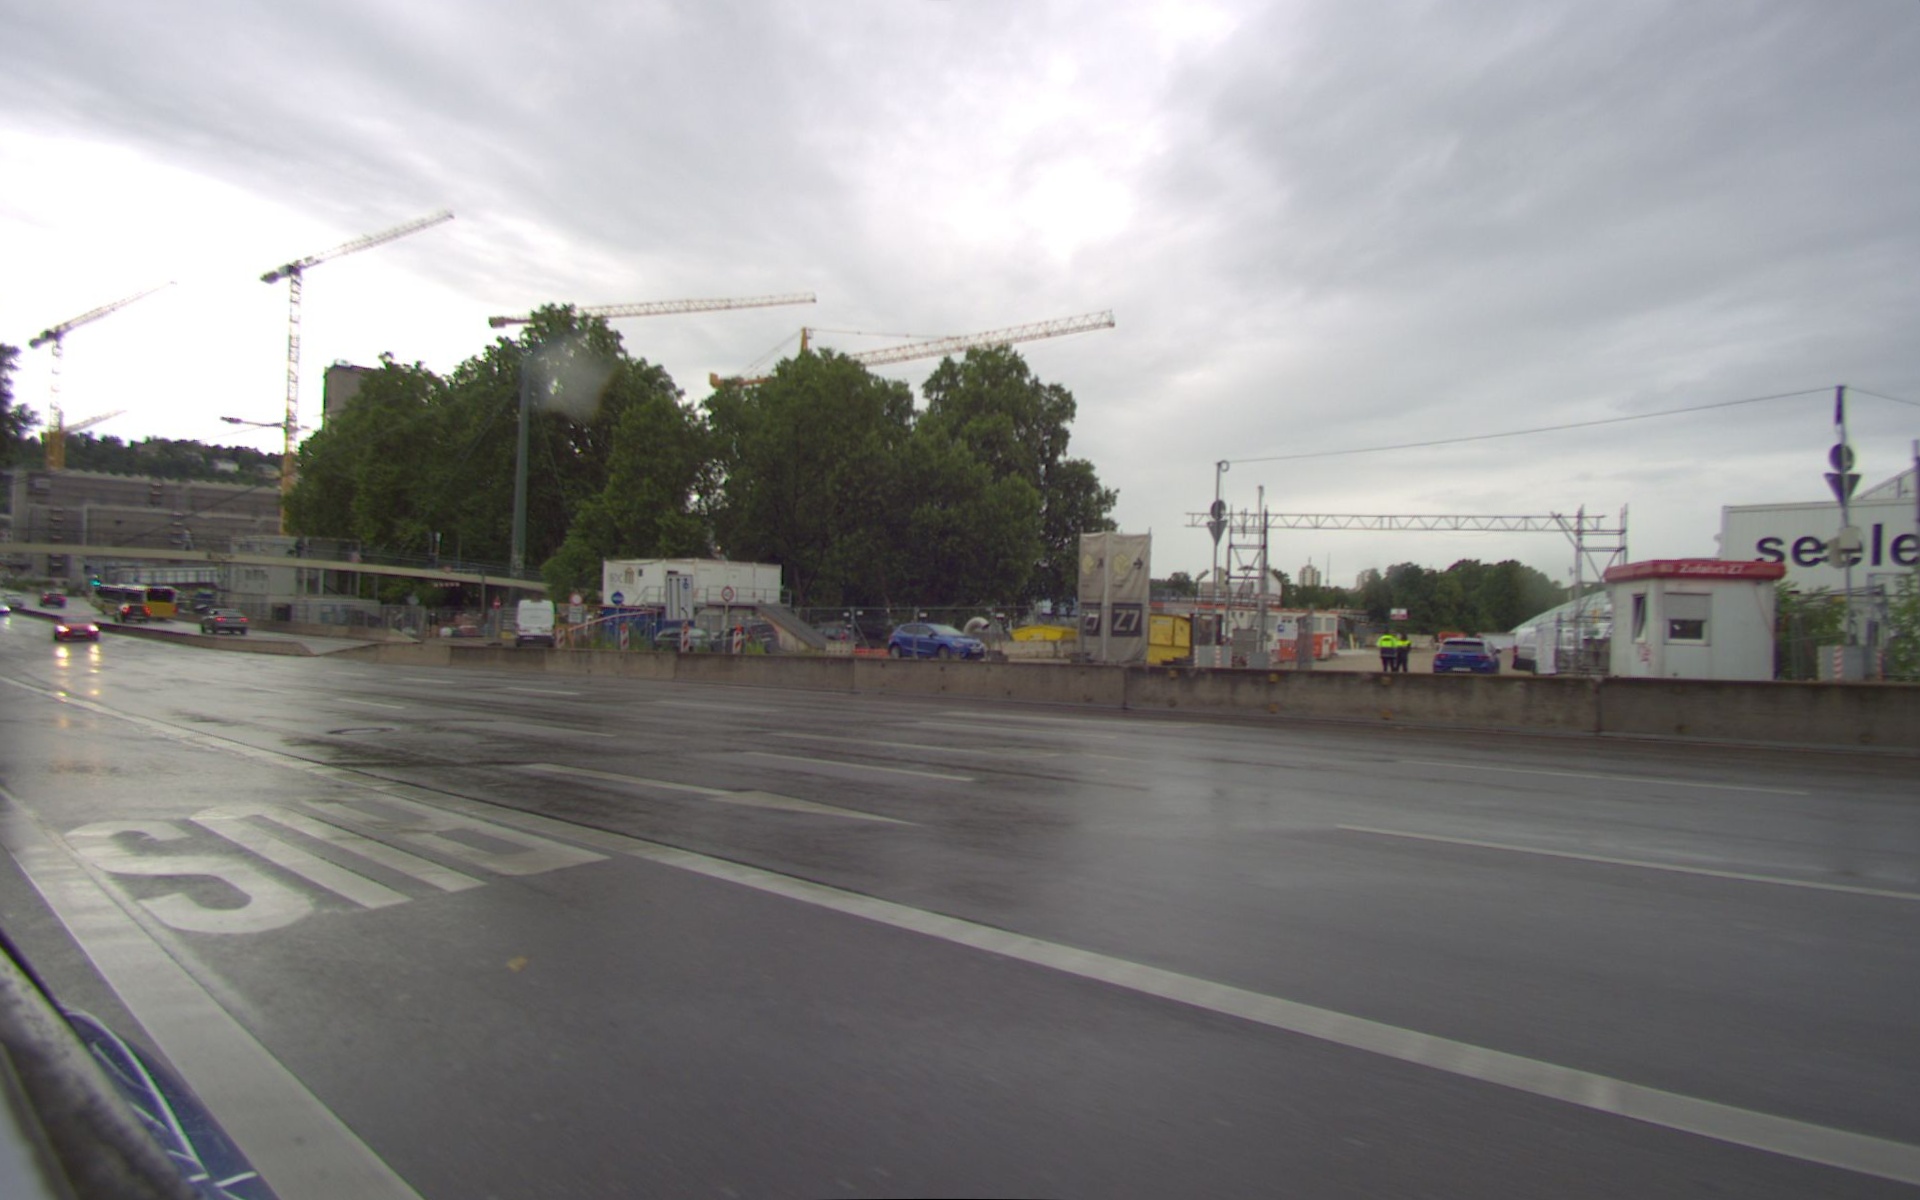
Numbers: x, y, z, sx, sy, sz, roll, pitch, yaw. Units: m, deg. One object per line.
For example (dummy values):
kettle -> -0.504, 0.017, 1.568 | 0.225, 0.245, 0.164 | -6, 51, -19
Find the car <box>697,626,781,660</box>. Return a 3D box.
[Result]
car -> -10.275, 1.957, 46.920 | 1.813, 1.501, 4.444 | 2, -3, -43

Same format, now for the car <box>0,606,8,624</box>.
car -> -89.012, 1.352, 92.786 | 4.436, 1.588, 1.962 | -1, -2, 40

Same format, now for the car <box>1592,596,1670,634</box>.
car -> 44.694, 1.025, 67.478 | 3.933, 2.402, 2.179 | 1, -2, -14

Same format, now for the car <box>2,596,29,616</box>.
car -> -104.219, 0.679, 111.660 | 4.002, 2.029, 1.971 | -1, -3, 45

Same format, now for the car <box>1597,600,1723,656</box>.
car -> 34.054, 1.345, 49.428 | 4.800, 2.610, 2.257 | -1, -2, 29

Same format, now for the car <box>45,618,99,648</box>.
car -> -48.363, 1.781, 55.070 | 3.998, 1.564, 1.668 | -2, -2, 41

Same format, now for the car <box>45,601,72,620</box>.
car -> -101.107, 1.156, 113.471 | 4.002, 2.029, 1.971 | -1, -3, 45

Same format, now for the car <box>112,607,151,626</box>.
car -> -70.334, 1.393, 85.893 | 4.436, 1.588, 1.817 | -1, -2, 40

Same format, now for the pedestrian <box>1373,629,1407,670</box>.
pedestrian -> 14.471, 1.658, 34.069 | 0.734, 1.363, 0.839 | 2, -3, -43

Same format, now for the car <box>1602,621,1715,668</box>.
car -> 31.073, 1.976, 45.188 | 3.985, 1.955, 1.979 | 0, -3, 31

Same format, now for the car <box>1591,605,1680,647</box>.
car -> 39.685, 1.534, 59.503 | 3.933, 2.402, 2.174 | 1, -2, -14

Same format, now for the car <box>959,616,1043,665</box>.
car -> 2.102, 2.073, 52.014 | 3.998, 2.402, 1.972 | -1, -3, 41

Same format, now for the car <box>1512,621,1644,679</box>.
car -> 22.386, 1.793, 36.814 | 3.985, 1.955, 1.979 | 0, -3, 31

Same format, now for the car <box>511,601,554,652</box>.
car -> -24.270, 1.504, 57.362 | 2.044, 2.759, 4.608 | 1, -2, -25

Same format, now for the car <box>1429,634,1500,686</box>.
car -> 16.699, 1.913, 33.483 | 1.990, 1.519, 3.963 | -1, -1, 27

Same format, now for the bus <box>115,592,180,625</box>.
bus -> -76.737, 0.803, 95.501 | 8.949, 2.963, 3.228 | -1, 0, 41

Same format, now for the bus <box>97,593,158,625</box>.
bus -> -83.429, 0.931, 101.335 | 8.948, 3.079, 3.197 | -1, 0, 41

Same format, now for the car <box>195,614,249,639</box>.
car -> -48.506, 1.722, 66.487 | 4.436, 1.588, 1.817 | -1, -2, 40

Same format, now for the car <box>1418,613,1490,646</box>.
car -> 32.841, 1.946, 67.334 | 3.931, 2.029, 2.006 | -1, 0, -17

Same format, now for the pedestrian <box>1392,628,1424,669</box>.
pedestrian -> 15.306, 1.646, 34.592 | 0.735, 1.363, 0.836 | 0, -2, 5

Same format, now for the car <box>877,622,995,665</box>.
car -> -0.949, 1.567, 37.252 | 1.814, 1.501, 4.443 | 2, -3, -44
